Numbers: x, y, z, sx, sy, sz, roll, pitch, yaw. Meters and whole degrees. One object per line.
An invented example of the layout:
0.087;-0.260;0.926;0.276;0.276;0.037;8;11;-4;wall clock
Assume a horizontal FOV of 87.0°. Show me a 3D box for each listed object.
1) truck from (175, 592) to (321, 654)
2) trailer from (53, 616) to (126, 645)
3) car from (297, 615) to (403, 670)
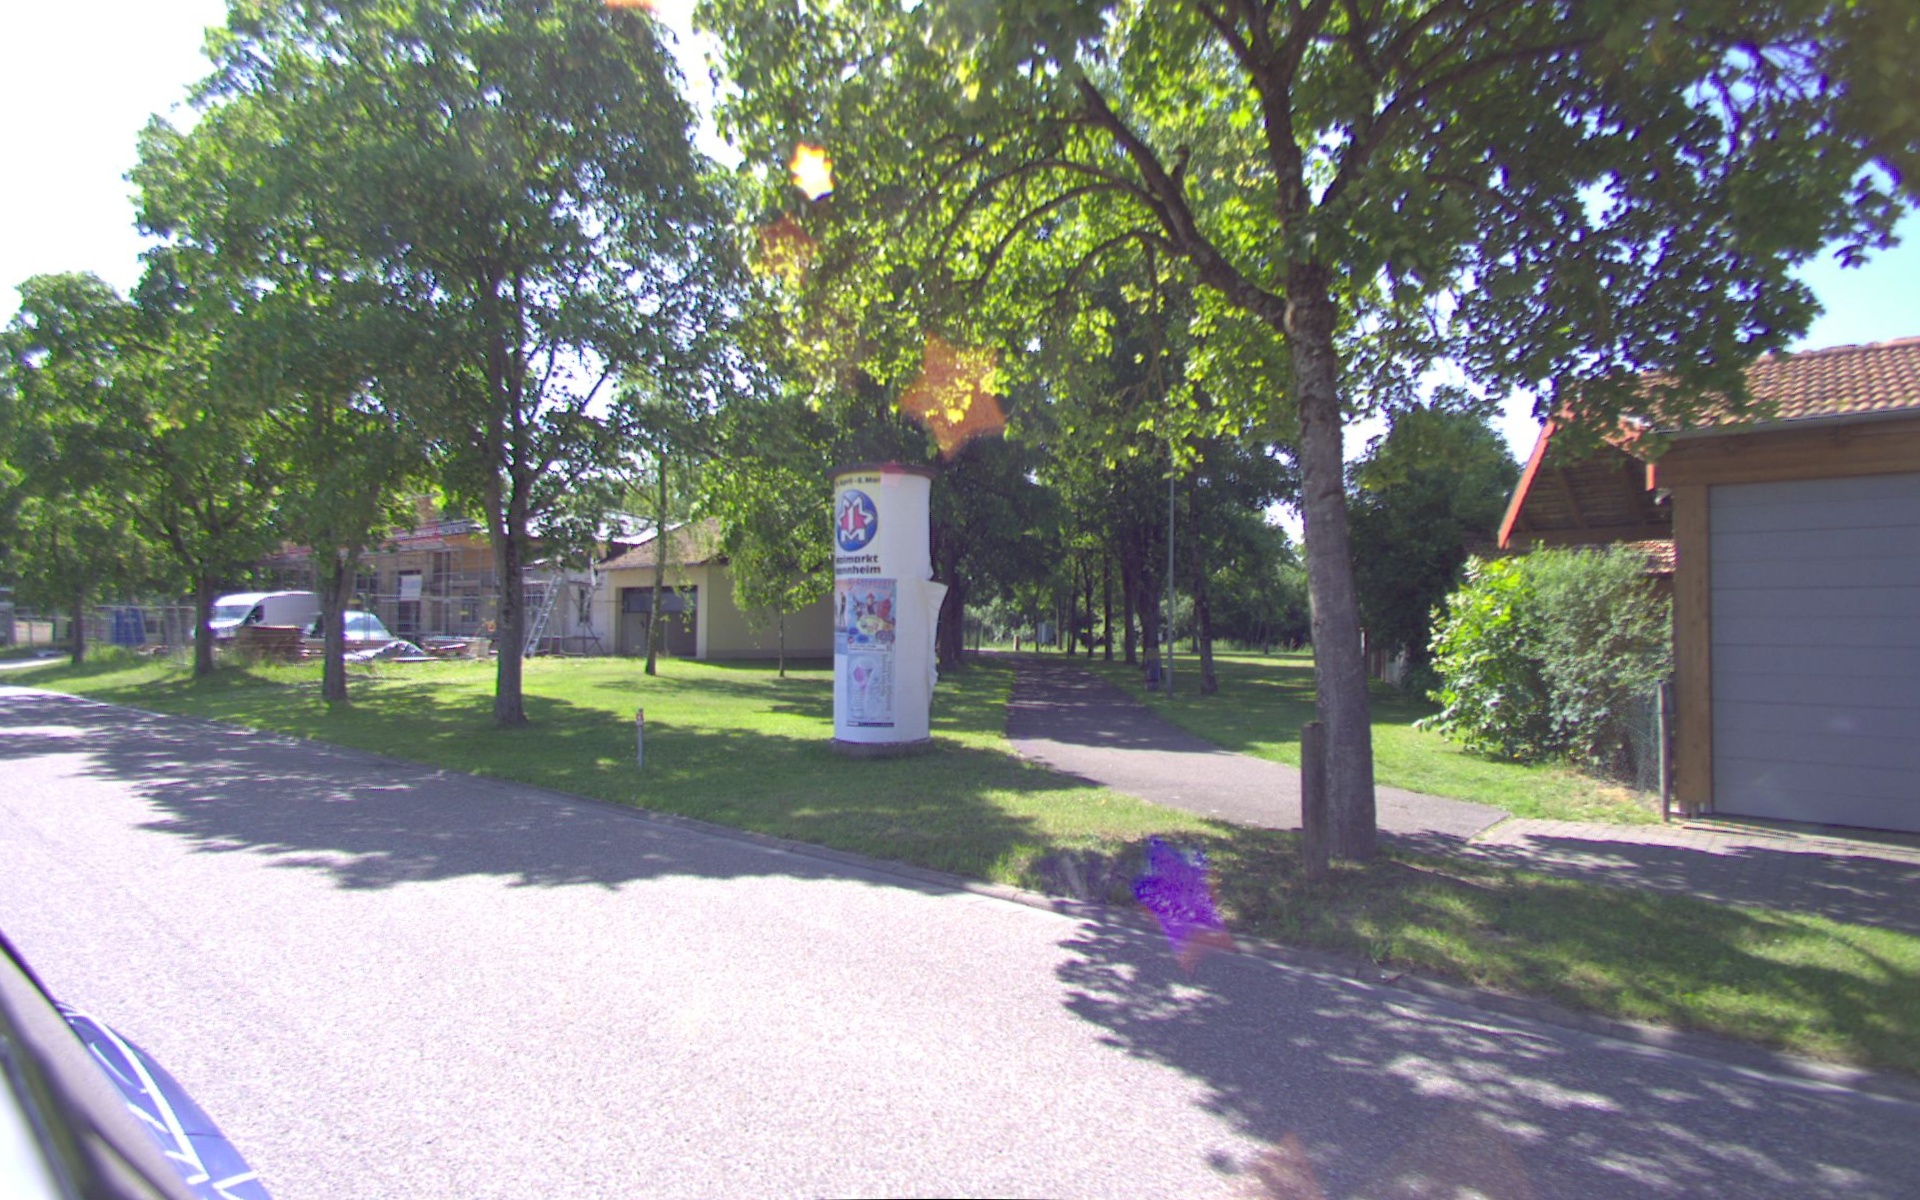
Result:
-30.750;1.009;44.003;1.973;2.502;5.927;0;-1;2;truck
-72.270;2.574;84.110;1.818;2.295;4.200;-1;-3;25;trailer
-22.115;1.512;36.642;4.323;1.852;1.951;-1;-2;39;car
